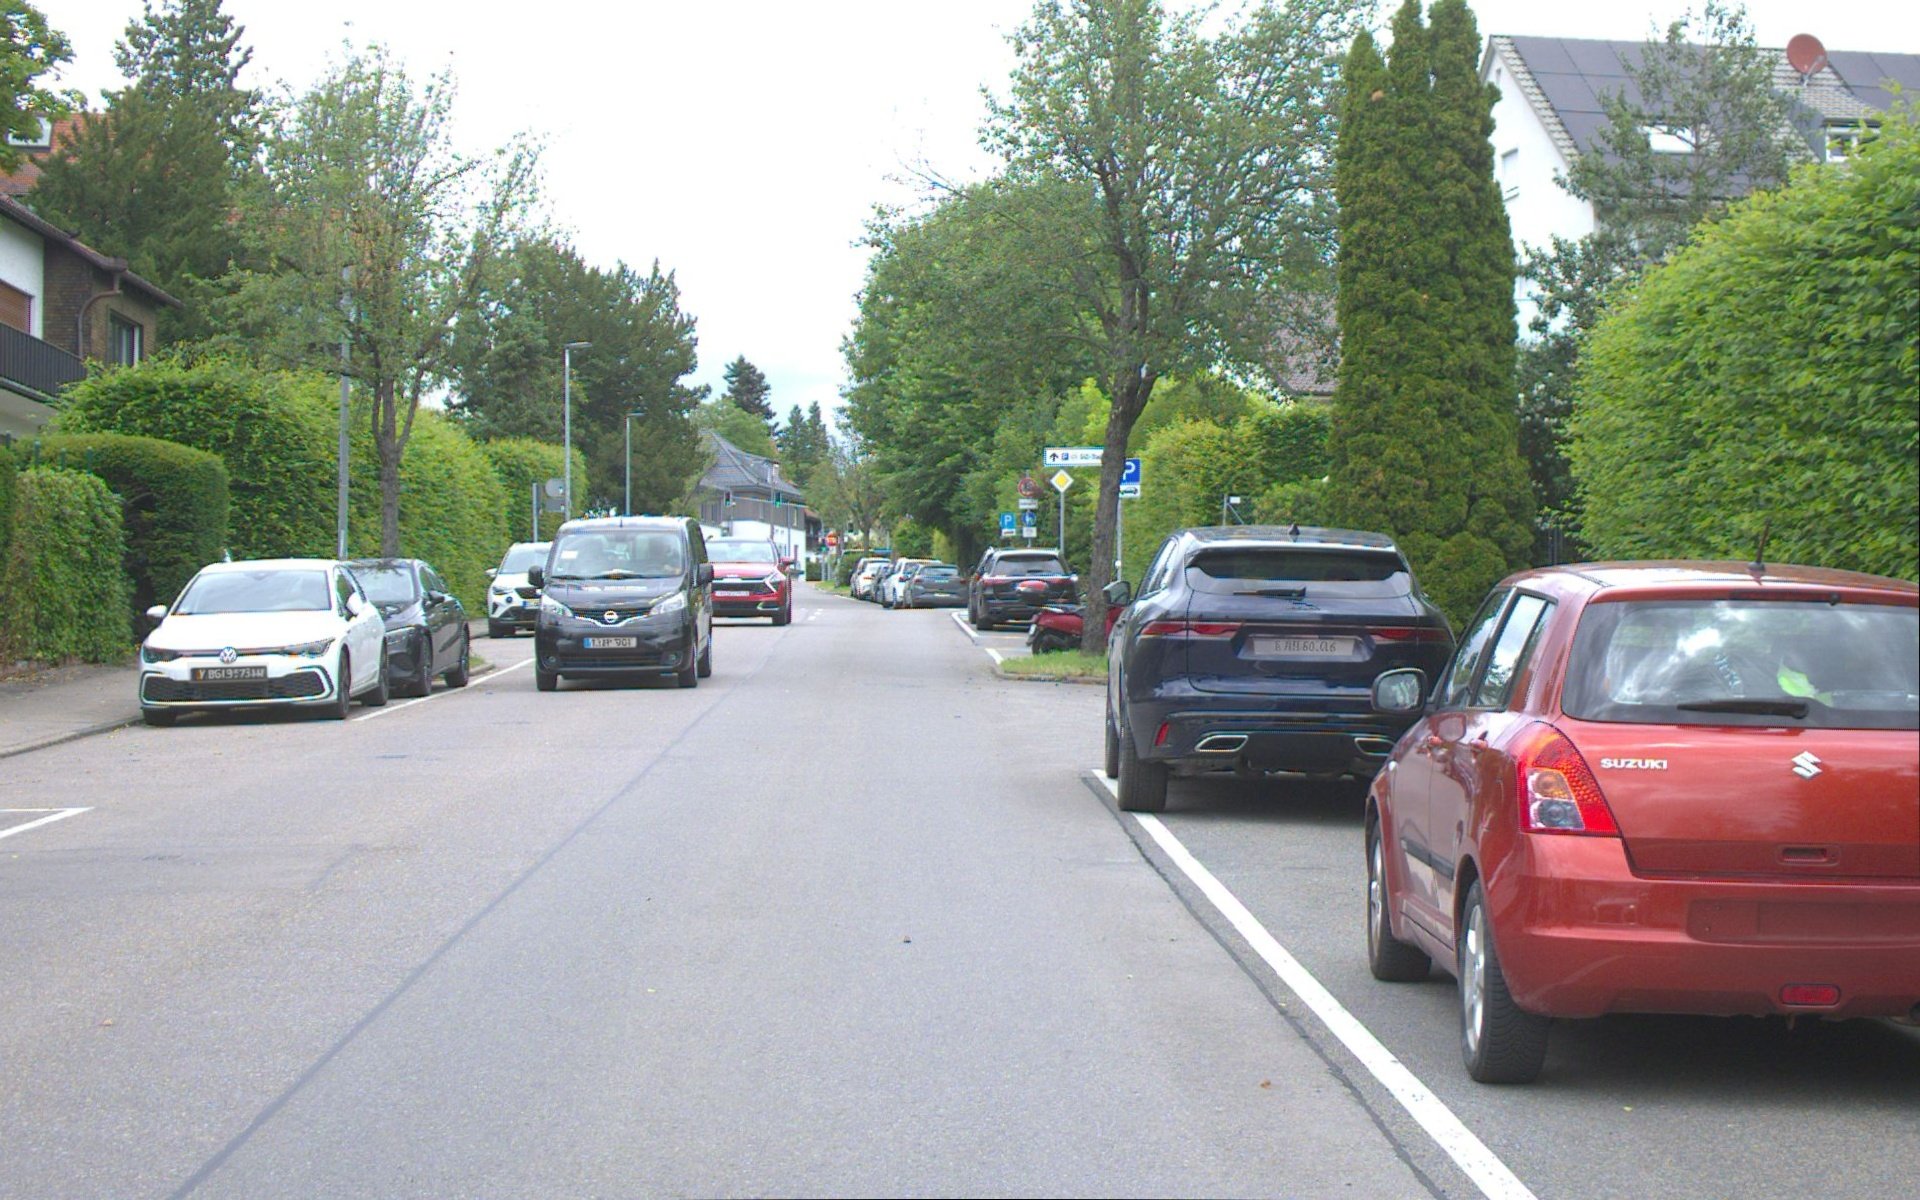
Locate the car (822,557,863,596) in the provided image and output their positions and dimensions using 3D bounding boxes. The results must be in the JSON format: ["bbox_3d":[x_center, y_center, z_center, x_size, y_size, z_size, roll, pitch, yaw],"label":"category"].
[{"bbox_3d":[-5.244,-1.053,153.388,1.643,1.662,3.468,0,1,-5],"label":"car"}]

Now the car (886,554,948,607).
[{"bbox_3d":[-1.417,-0.651,111.181,1.713,1.652,3.623,0,1,-5],"label":"car"}]

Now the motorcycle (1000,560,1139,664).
[{"bbox_3d":[1.459,0.150,45.629,1.863,1.342,0.599,-1,1,-36],"label":"motorcycle"}]

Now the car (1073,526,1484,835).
[{"bbox_3d":[1.809,0.418,20.965,1.993,1.612,4.513,2,1,0],"label":"car"}]

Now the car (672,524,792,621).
[{"bbox_3d":[-4.110,-0.517,62.570,1.941,1.641,4.258,-2,1,-1],"label":"car"}]

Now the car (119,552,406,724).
[{"bbox_3d":[-6.334,0.296,31.670,1.837,1.417,4.409,-1,1,-2],"label":"car"}]

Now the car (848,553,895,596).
[{"bbox_3d":[-3.566,-1.034,137.954,1.664,1.662,3.468,0,1,-5],"label":"car"}]

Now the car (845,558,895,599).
[{"bbox_3d":[-3.443,-0.834,131.146,1.664,1.495,3.468,0,1,-5],"label":"car"}]

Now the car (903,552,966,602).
[{"bbox_3d":[-0.800,-0.714,106.549,1.664,1.495,3.468,0,1,-5],"label":"car"}]

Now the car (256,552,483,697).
[{"bbox_3d":[-6.189,0.229,36.418,1.727,1.418,4.079,-1,0,-1],"label":"car"}]

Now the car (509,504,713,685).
[{"bbox_3d":[-3.760,-0.095,37.708,1.885,1.844,4.402,-1,1,-2],"label":"car"}]

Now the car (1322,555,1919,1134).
[{"bbox_3d":[2.220,0.624,10.962,1.661,1.503,3.758,0,1,-1],"label":"car"}]

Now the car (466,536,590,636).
[{"bbox_3d":[-7.017,-0.252,56.121,1.722,1.535,4.001,-1,1,-3],"label":"car"}]

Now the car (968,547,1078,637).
[{"bbox_3d":[1.125,-0.182,63.378,1.882,1.528,4.475,1,1,0],"label":"car"}]
